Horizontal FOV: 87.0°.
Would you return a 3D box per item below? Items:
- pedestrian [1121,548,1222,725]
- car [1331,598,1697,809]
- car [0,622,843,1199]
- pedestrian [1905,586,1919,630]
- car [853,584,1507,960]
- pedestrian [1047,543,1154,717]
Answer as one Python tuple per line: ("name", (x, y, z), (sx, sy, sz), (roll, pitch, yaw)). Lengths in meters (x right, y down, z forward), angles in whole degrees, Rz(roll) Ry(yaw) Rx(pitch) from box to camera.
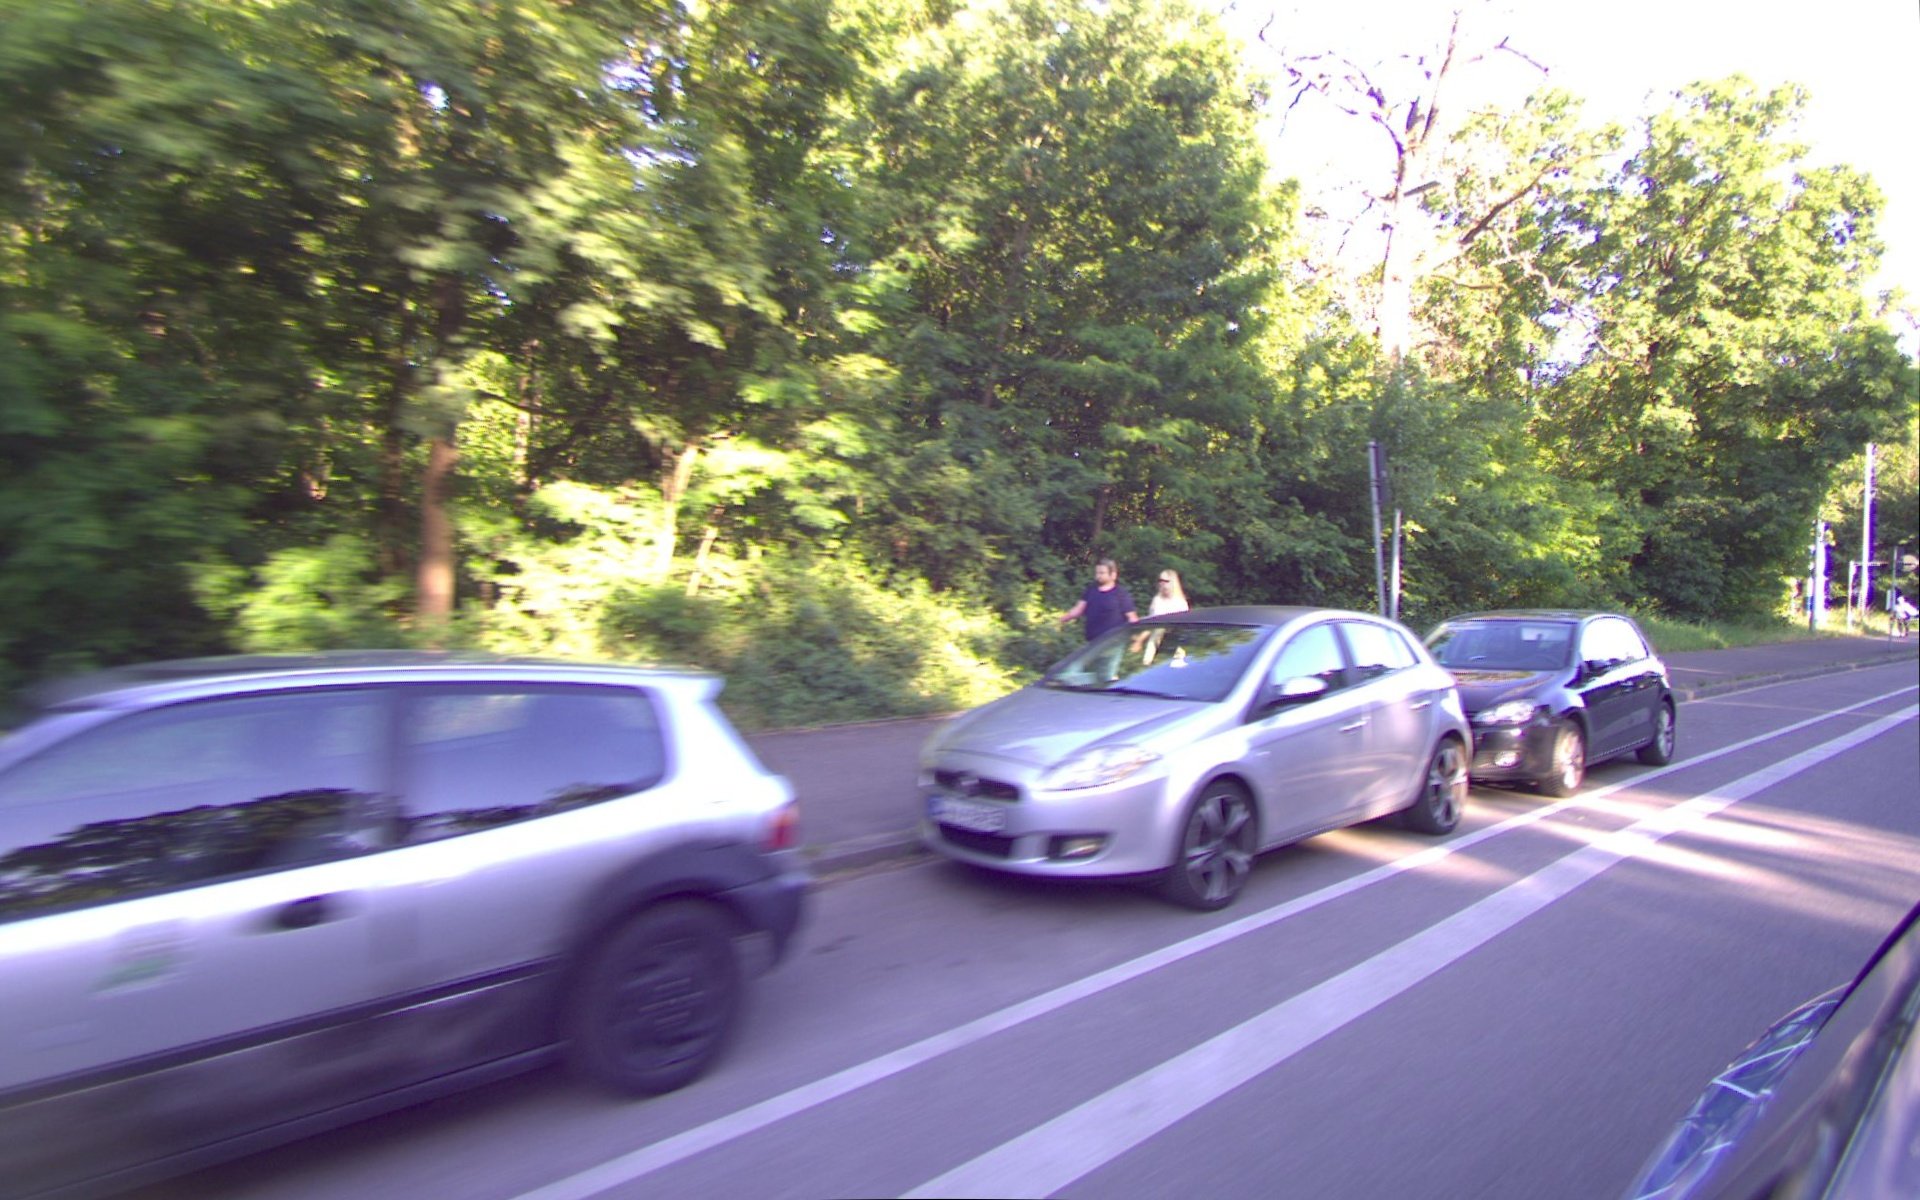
("pedestrian", (2.283, 0.364, 10.933), (0.776, 1.821, 0.676), (0, 3, -43))
("car", (5.152, 0.740, 9.195), (3.950, 1.470, 1.659), (0, 1, -41))
("car", (-2.344, 0.776, 2.801), (3.773, 1.336, 1.631), (0, 0, -41))
("pedestrian", (39.891, 0.338, 42.044), (0.720, 1.822, 0.809), (0, 1, -38))
("car", (1.603, 0.702, 6.280), (4.283, 1.544, 1.740), (0, 1, -41))
("pedestrian", (1.565, 0.301, 11.219), (0.937, 1.821, 0.676), (0, 3, -43))
